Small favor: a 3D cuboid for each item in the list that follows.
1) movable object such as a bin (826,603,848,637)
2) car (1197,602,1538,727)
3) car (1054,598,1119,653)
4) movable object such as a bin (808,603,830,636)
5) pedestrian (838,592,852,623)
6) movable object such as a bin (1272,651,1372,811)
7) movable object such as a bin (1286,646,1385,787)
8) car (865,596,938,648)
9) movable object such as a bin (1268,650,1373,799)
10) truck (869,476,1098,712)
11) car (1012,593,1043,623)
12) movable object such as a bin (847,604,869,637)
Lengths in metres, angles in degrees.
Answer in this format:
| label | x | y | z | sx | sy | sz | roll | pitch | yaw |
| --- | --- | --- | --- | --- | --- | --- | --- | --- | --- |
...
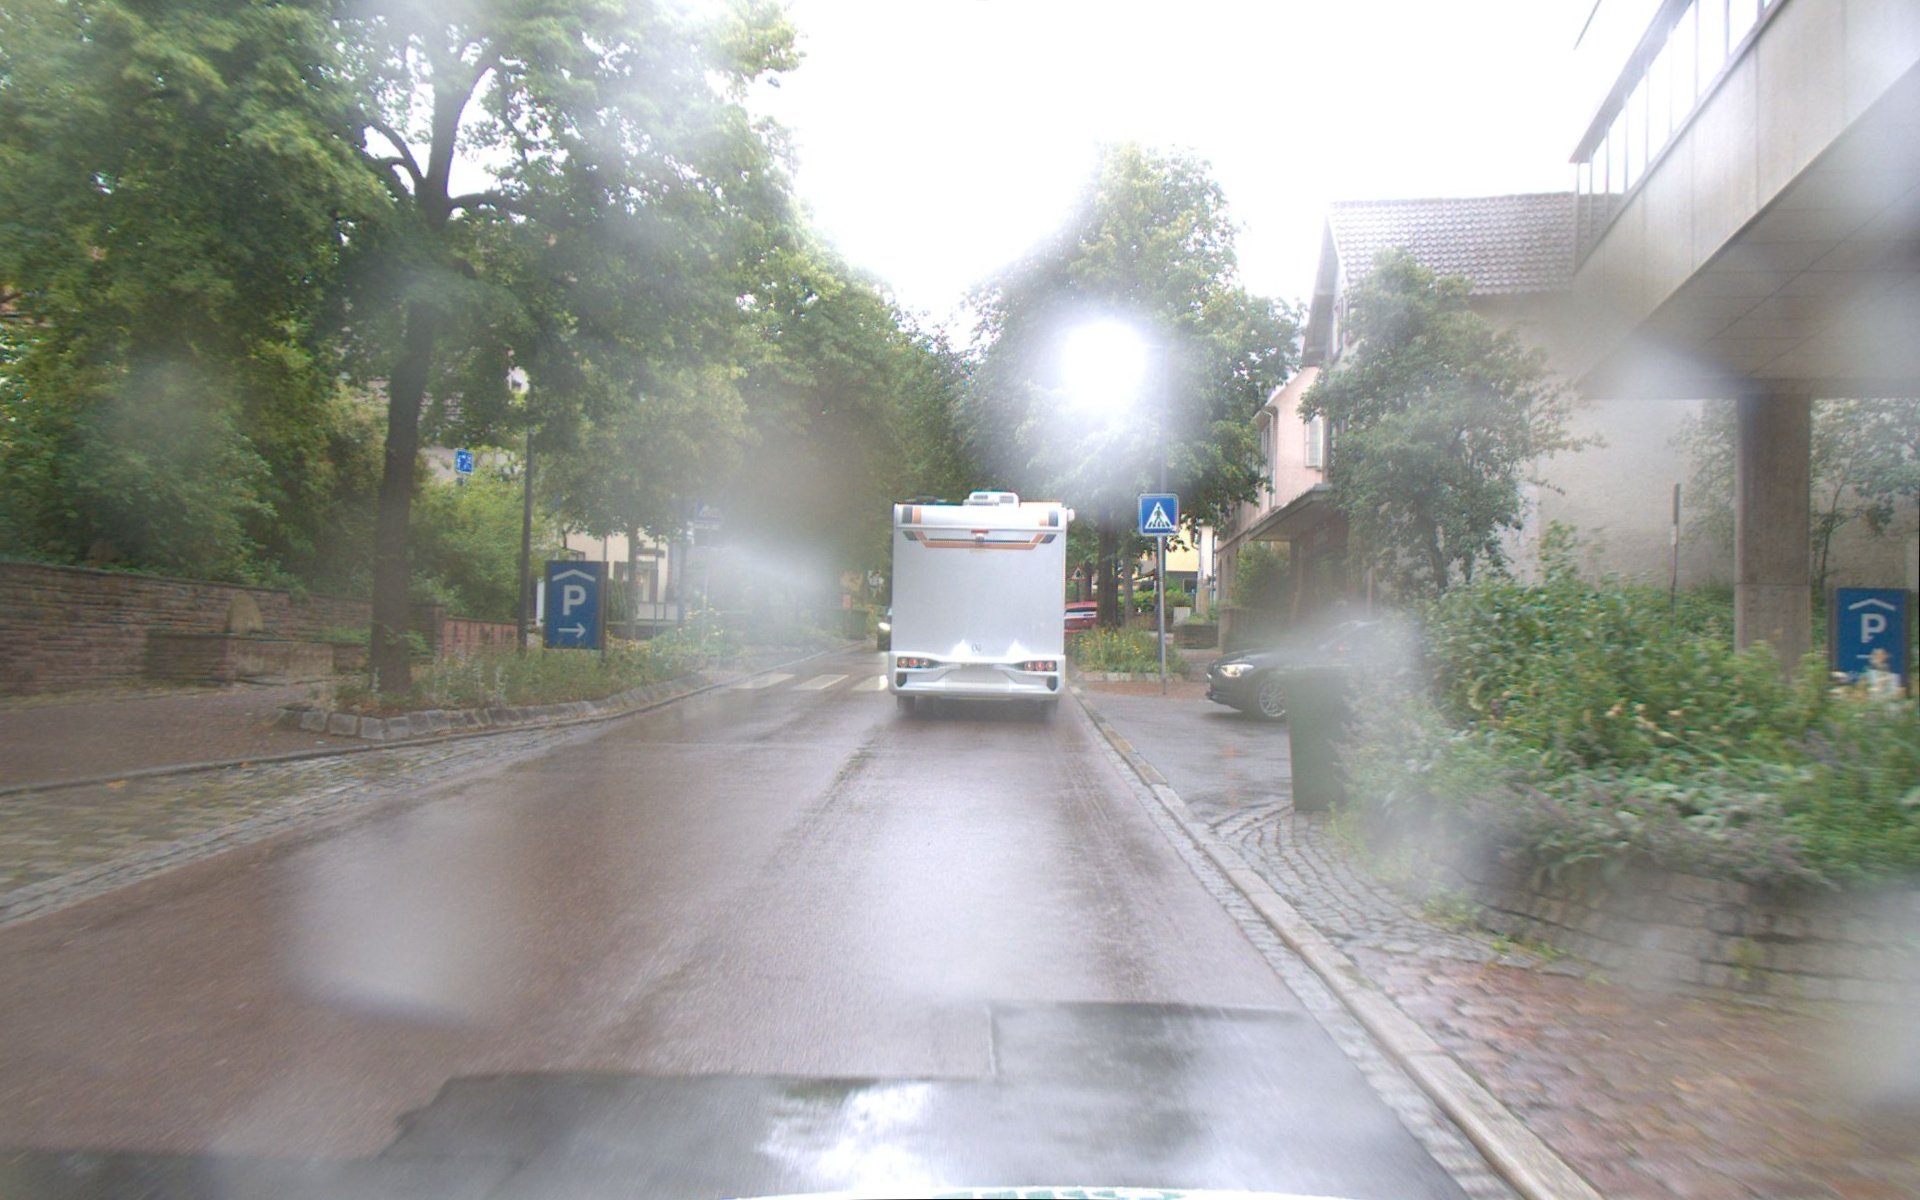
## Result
| label | x | y | z | sx | sy | sz | roll | pitch | yaw |
| --- | --- | --- | --- | --- | --- | --- | --- | --- | --- |
| movable object such as a bin | -4.231 | 0.690 | 57.079 | 0.656 | 1.124 | 0.817 | 1 | -1 | 1 |
| car | 5.503 | 0.854 | 22.731 | 4.195 | 1.441 | 1.840 | 3 | 0 | 0 |
| car | 3.810 | 0.738 | 49.887 | 1.816 | 1.497 | 4.367 | 3 | 0 | 4 |
| movable object such as a bin | -4.920 | 0.684 | 57.688 | 0.656 | 1.124 | 0.817 | 1 | -1 | 1 |
| pedestrian | -7.000 | 0.449 | 100.677 | 0.800 | 1.876 | 0.770 | 1 | -1 | 1 |
| movable object such as a bin | 2.722 | 0.964 | 12.413 | 0.688 | 1.144 | 0.572 | 0 | -1 | 17 |
| movable object such as a bin | 3.135 | 0.950 | 13.802 | 0.690 | 1.130 | 0.571 | 0 | -1 | 26 |
| car | -1.722 | 0.639 | 50.153 | 1.817 | 1.409 | 4.409 | 3 | 0 | 2 |
| movable object such as a bin | 2.866 | 0.970 | 13.126 | 0.690 | 1.127 | 0.570 | 0 | -1 | 28 |
| truck | 0.334 | -0.016 | 23.131 | 2.748 | 2.846 | 6.107 | 1 | -1 | 1 |
| car | 3.660 | 0.463 | 90.130 | 1.615 | 1.569 | 3.531 | 1 | -1 | 2 |
| movable object such as a bin | -3.504 | 0.695 | 56.911 | 0.656 | 1.114 | 0.817 | 1 | -1 | 1 |
